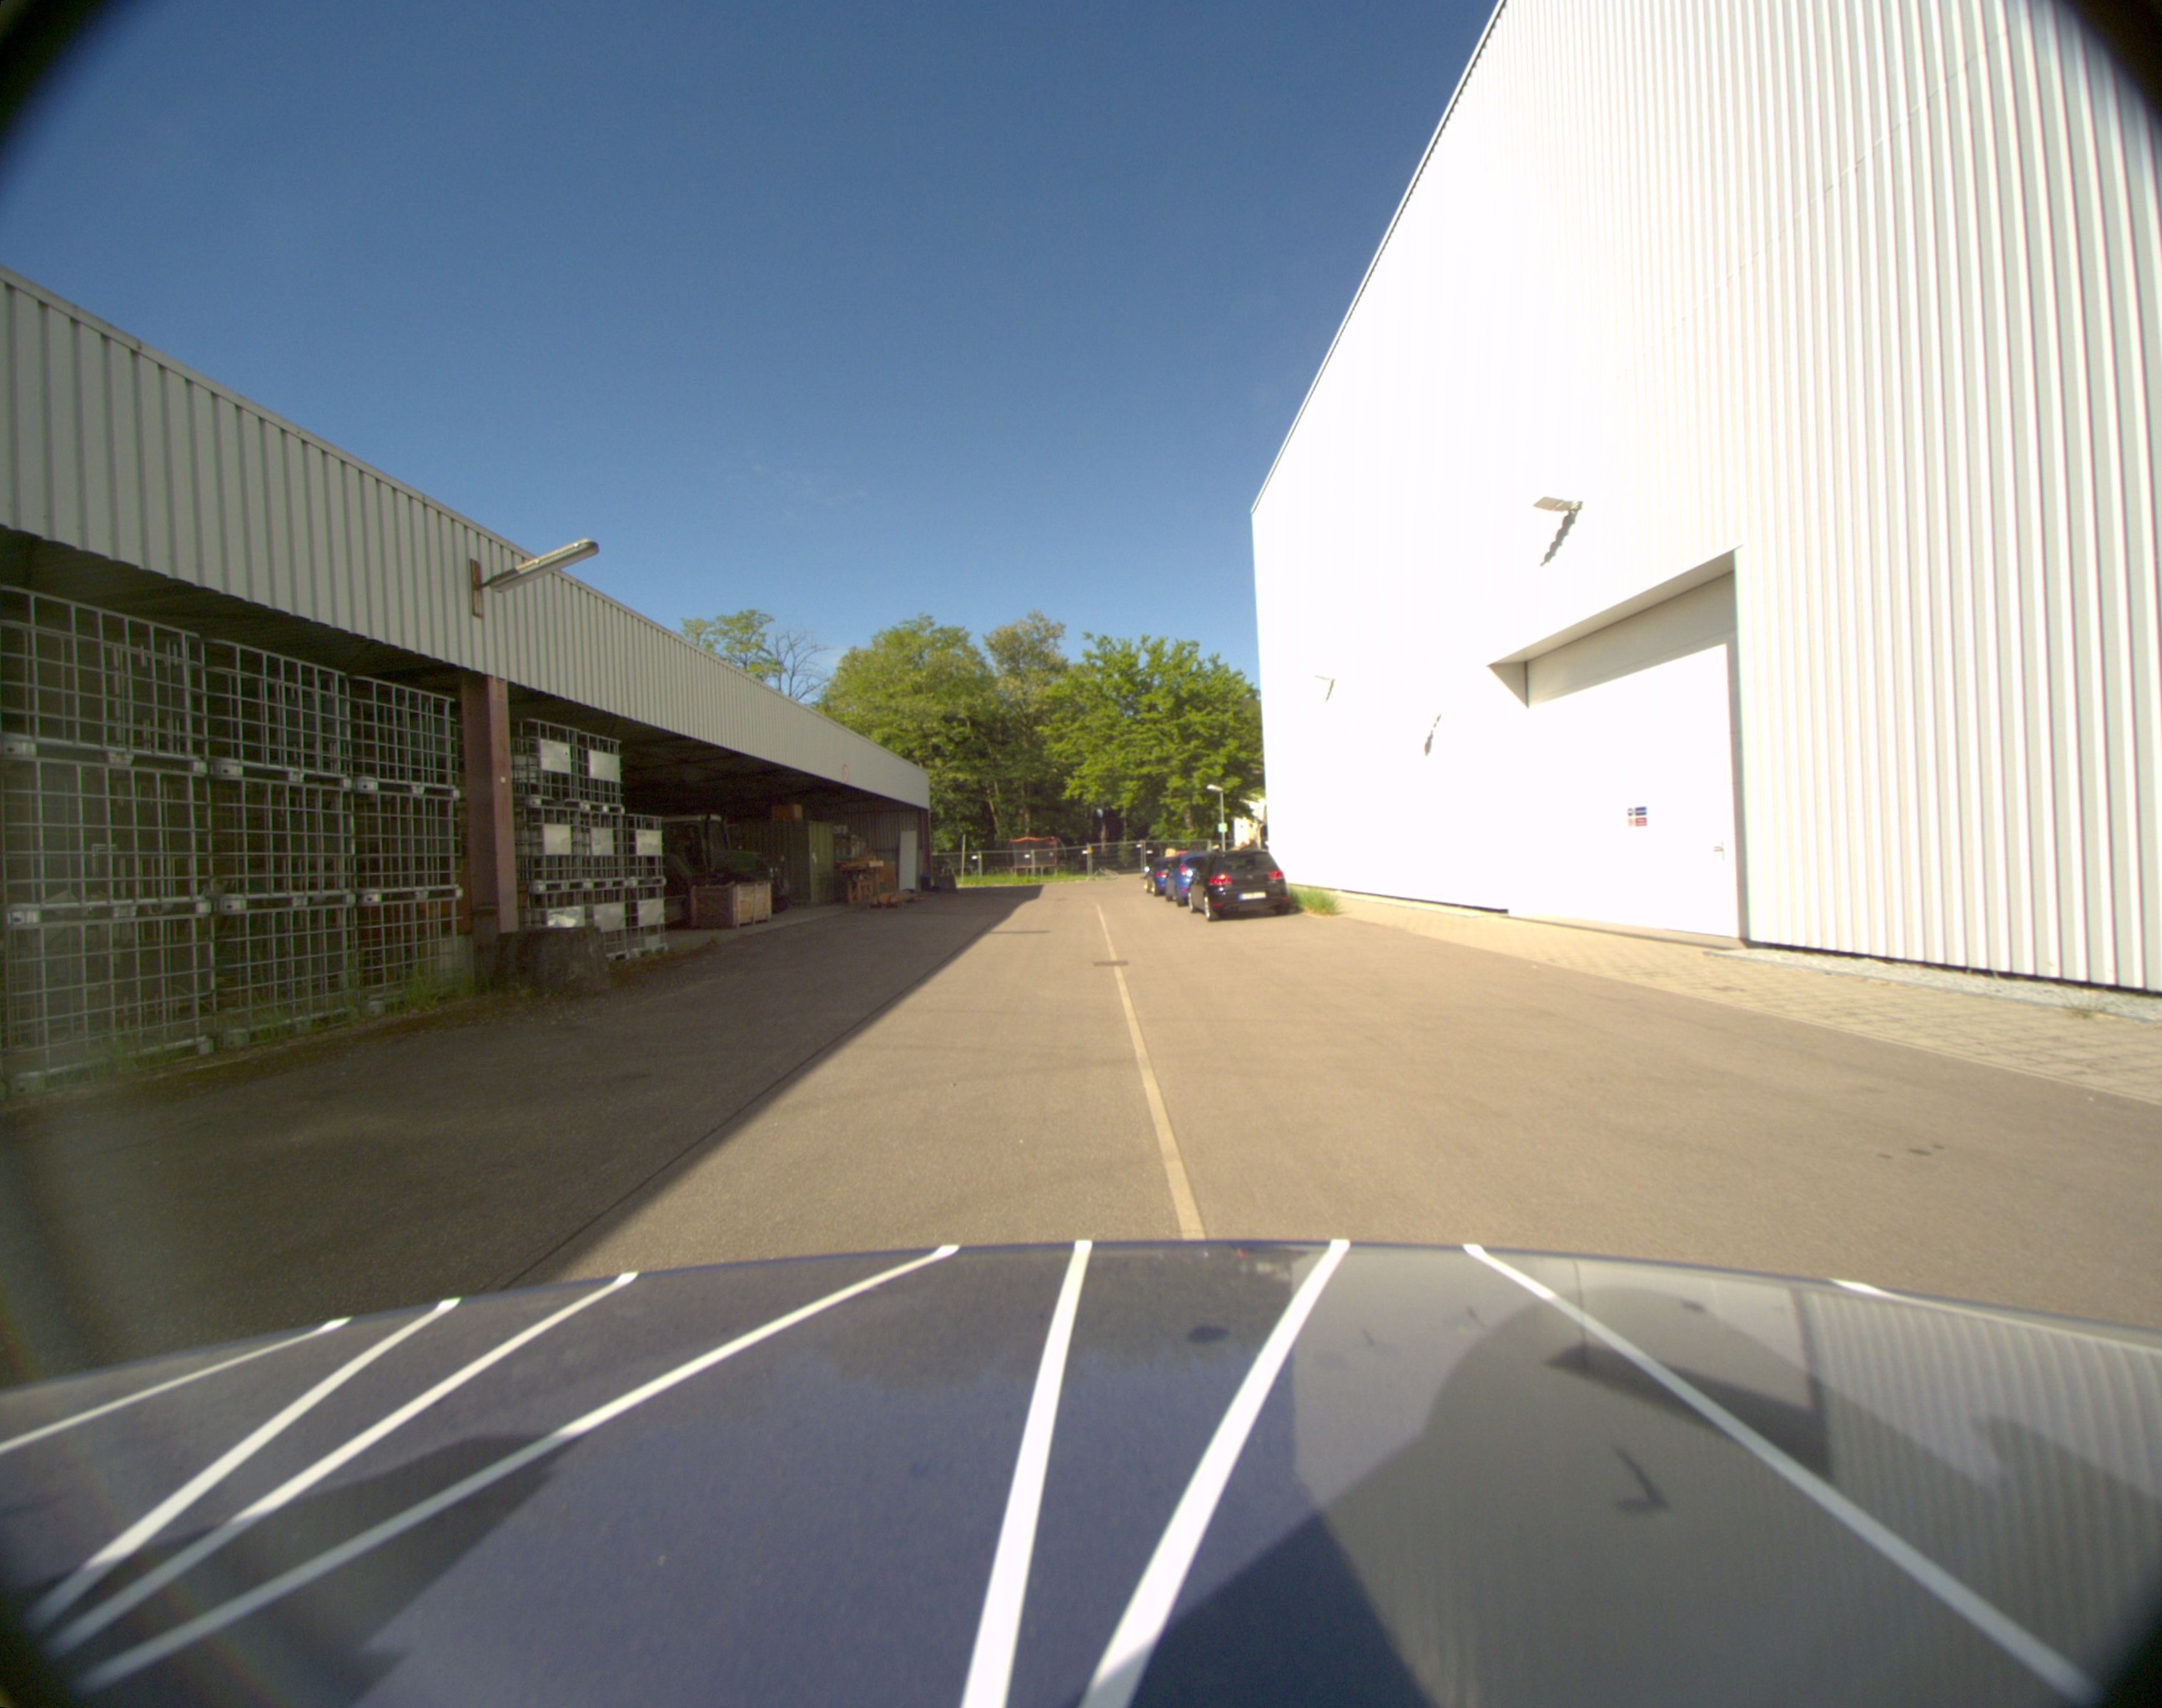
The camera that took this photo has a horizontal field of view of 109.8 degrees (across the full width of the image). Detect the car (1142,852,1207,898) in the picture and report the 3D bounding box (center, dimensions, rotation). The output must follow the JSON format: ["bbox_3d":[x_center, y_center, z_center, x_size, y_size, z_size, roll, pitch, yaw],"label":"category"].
[{"bbox_3d":[3.340,0.713,27.691,1.716,1.440,3.798,-4,0,-1],"label":"car"}]

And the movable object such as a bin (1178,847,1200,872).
[{"bbox_3d":[6.342,0.328,44.786,1.141,1.469,1.280,-1,-1,1],"label":"movable object such as a bin"}]

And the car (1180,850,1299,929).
[{"bbox_3d":[3.472,0.718,17.435,1.760,1.437,4.315,-5,0,1],"label":"car"}]

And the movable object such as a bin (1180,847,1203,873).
[{"bbox_3d":[6.317,0.328,43.422,1.141,1.426,1.289,-1,0,1],"label":"movable object such as a bin"}]

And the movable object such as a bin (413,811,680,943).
[{"bbox_3d":[-12.616,0.516,18.246,4.537,2.814,2.497,-2,0,1],"label":"movable object such as a bin"}]

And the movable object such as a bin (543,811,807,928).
[{"bbox_3d":[-11.248,0.417,21.512,5.848,2.908,2.820,-2,0,1],"label":"movable object such as a bin"}]

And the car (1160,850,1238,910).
[{"bbox_3d":[3.362,0.706,22.179,1.552,1.479,3.522,-4,0,-1],"label":"car"}]
